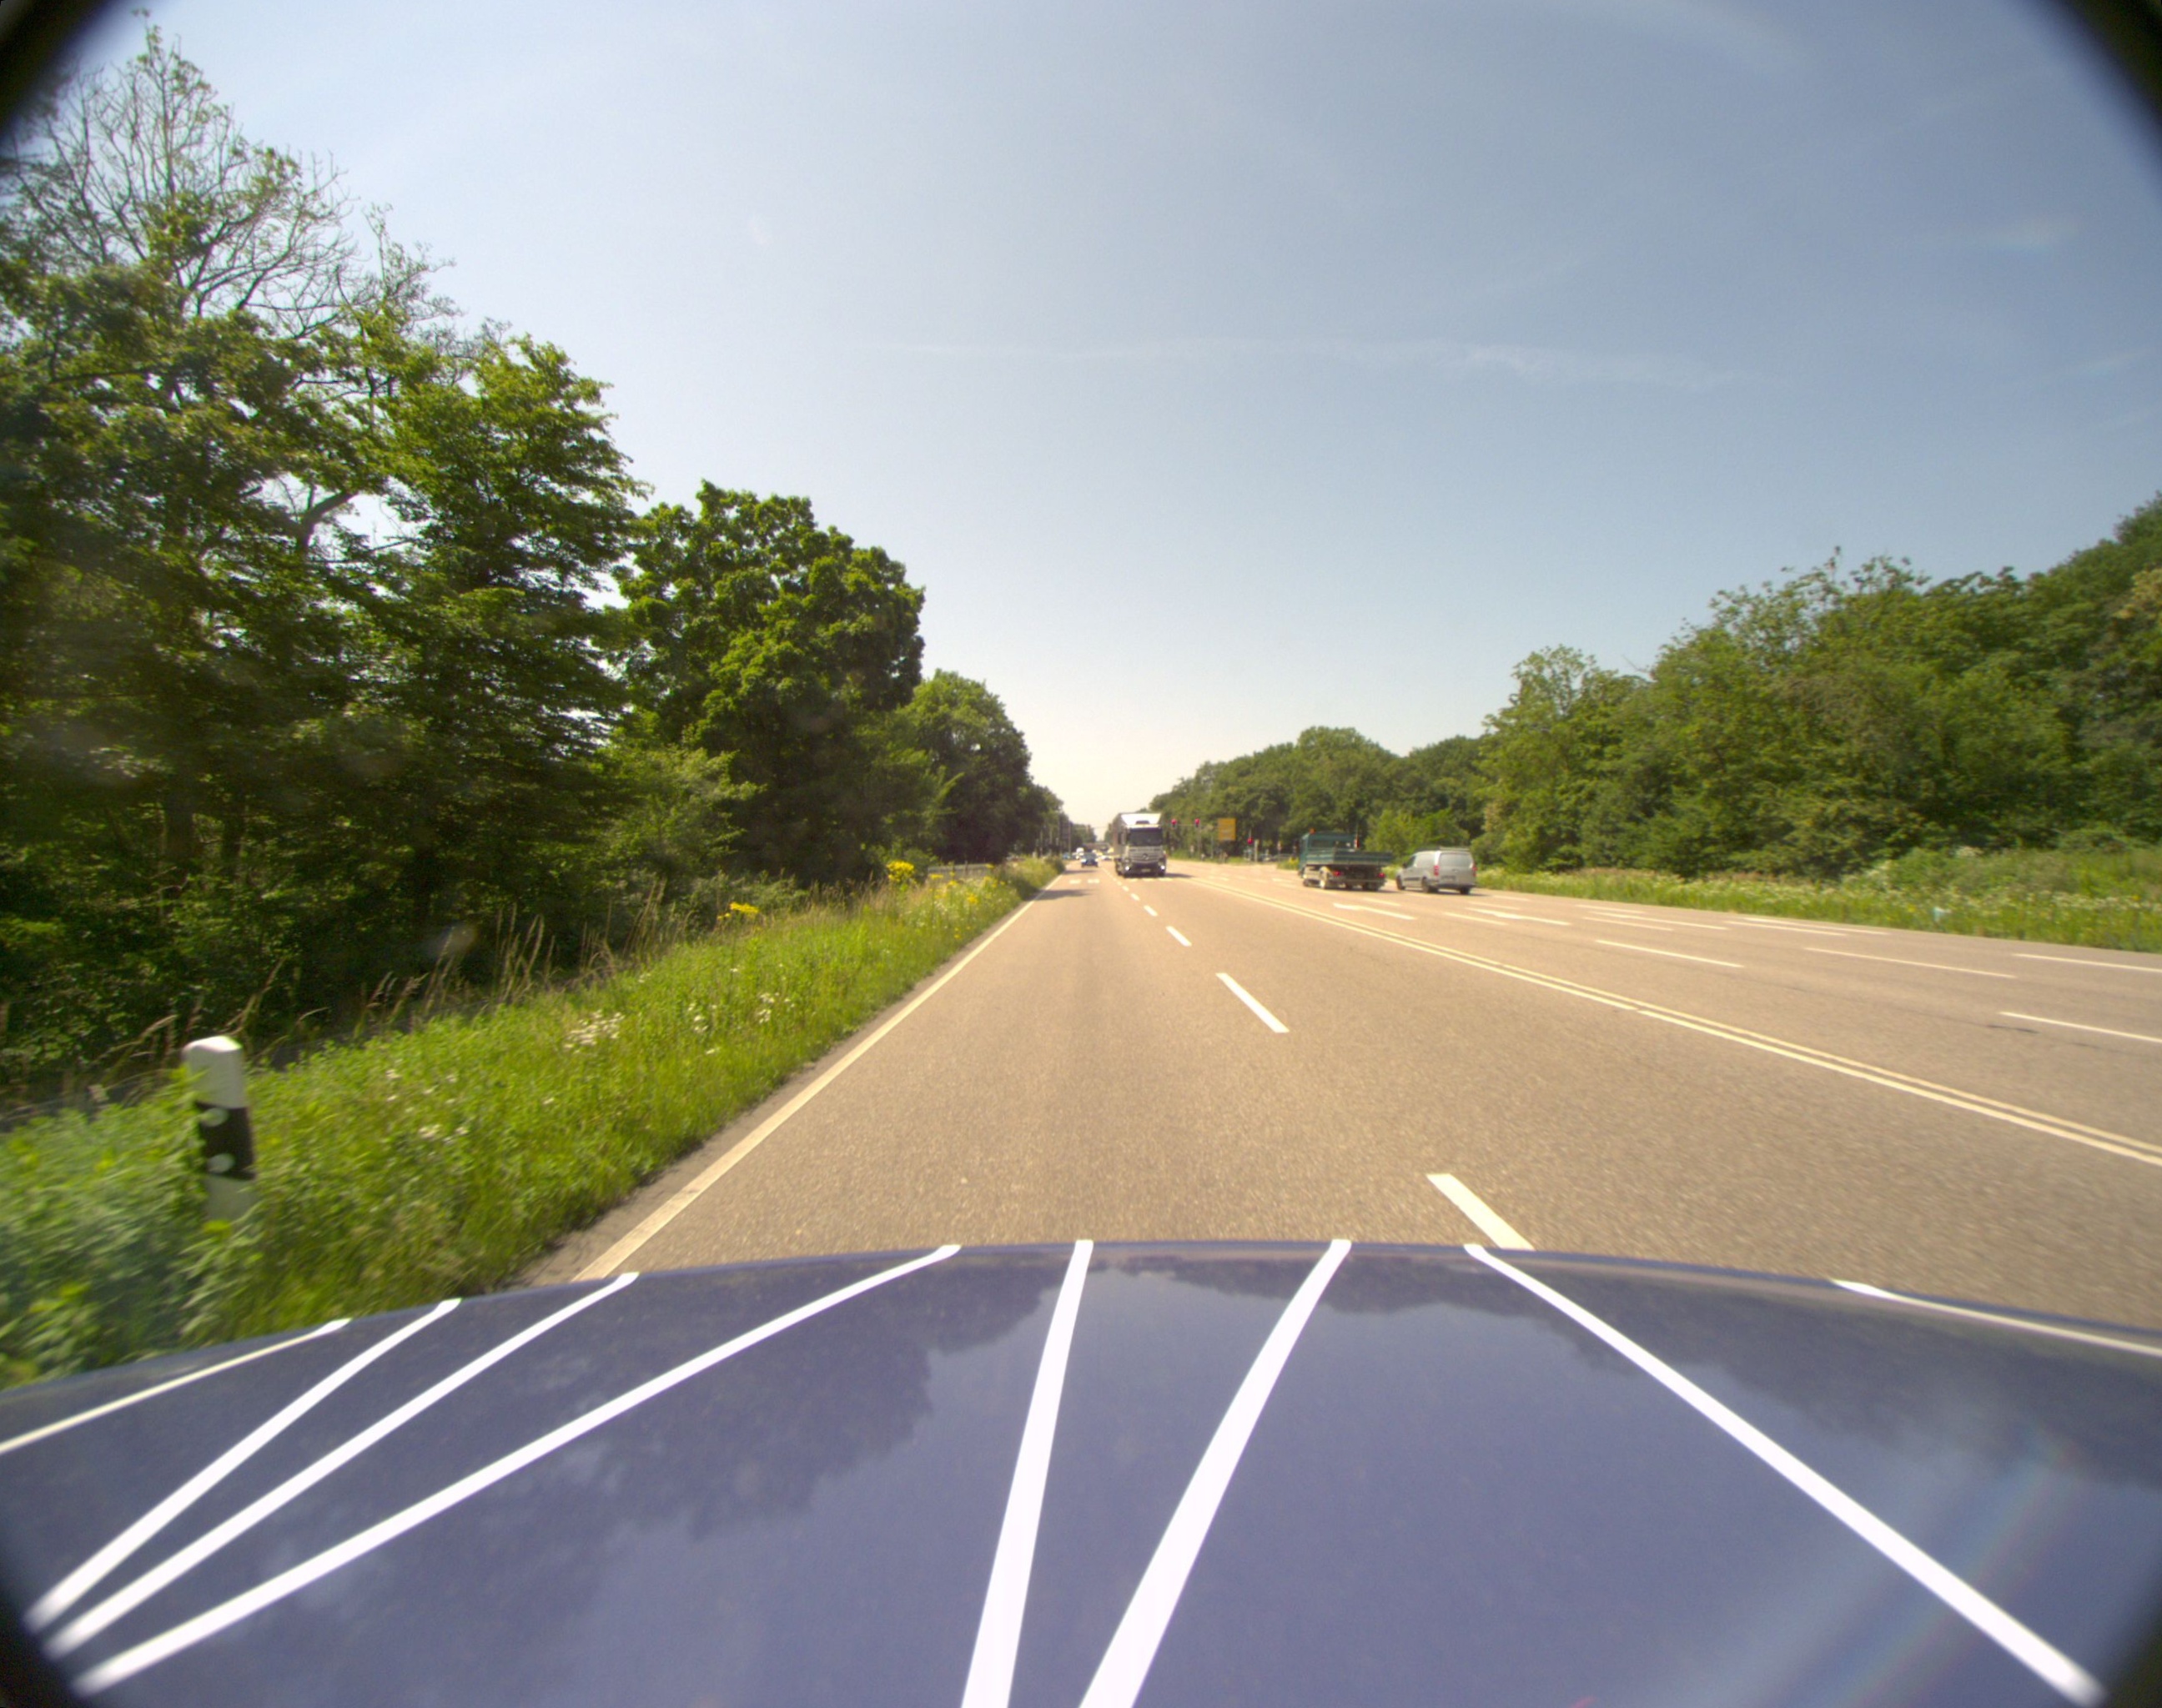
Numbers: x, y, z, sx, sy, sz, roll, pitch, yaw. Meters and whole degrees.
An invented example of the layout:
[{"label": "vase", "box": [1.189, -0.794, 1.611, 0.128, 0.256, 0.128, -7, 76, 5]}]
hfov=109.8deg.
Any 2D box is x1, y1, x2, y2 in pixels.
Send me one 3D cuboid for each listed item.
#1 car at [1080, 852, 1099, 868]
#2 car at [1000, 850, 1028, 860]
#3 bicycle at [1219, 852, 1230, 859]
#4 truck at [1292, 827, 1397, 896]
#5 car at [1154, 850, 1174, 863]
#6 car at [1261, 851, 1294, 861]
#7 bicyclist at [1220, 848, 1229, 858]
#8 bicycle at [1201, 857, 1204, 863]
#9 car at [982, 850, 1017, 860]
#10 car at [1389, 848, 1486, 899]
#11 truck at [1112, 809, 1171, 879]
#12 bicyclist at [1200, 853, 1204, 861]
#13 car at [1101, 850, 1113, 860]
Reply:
[{"label": "car", "box": [0.864, 0.618, 80.065, 1.992, 1.575, 4.364, 0, 0, 0]}, {"label": "car", "box": [-10.118, 0.129, 115.719, 4.102, 1.438, 1.995, 1, 1, -1]}, {"label": "bicycle", "box": [20.316, 0.199, 107.470, 0.722, 1.057, 1.873, 1, 1, 39]}, {"label": "truck", "box": [11.464, 0.284, 33.681, 2.460, 2.641, 6.491, 2, 0, 2]}, {"label": "car", "box": [10.451, 0.287, 96.070, 1.998, 1.668, 5.365, 1, 0, 2]}, {"label": "car", "box": [31.370, 0.368, 121.529, 4.817, 1.510, 1.862, 1, 1, 0]}, {"label": "bicyclist", "box": [20.303, -0.118, 107.451, 0.924, 1.451, 0.718, 1, 1, 39]}, {"label": "bicycle", "box": [21.834, 1.065, 136.699, 0.566, 0.918, 1.606, 1, 0, 11]}, {"label": "car", "box": [-11.997, 0.164, 112.176, 4.943, 1.490, 2.020, 0, 1, 2]}, {"label": "car", "box": [15.159, 0.774, 32.646, 1.998, 1.955, 4.821, 2, 0, 2]}, {"label": "truck", "box": [3.640, -0.614, 48.325, 2.753, 3.862, 11.319, -1, 0, 0]}, {"label": "bicyclist", "box": [21.833, 0.483, 136.716, 0.660, 1.456, 0.810, 1, 1, 10]}, {"label": "car", "box": [4.374, 0.188, 128.786, 1.998, 1.543, 4.000, 1, 0, 1]}]
